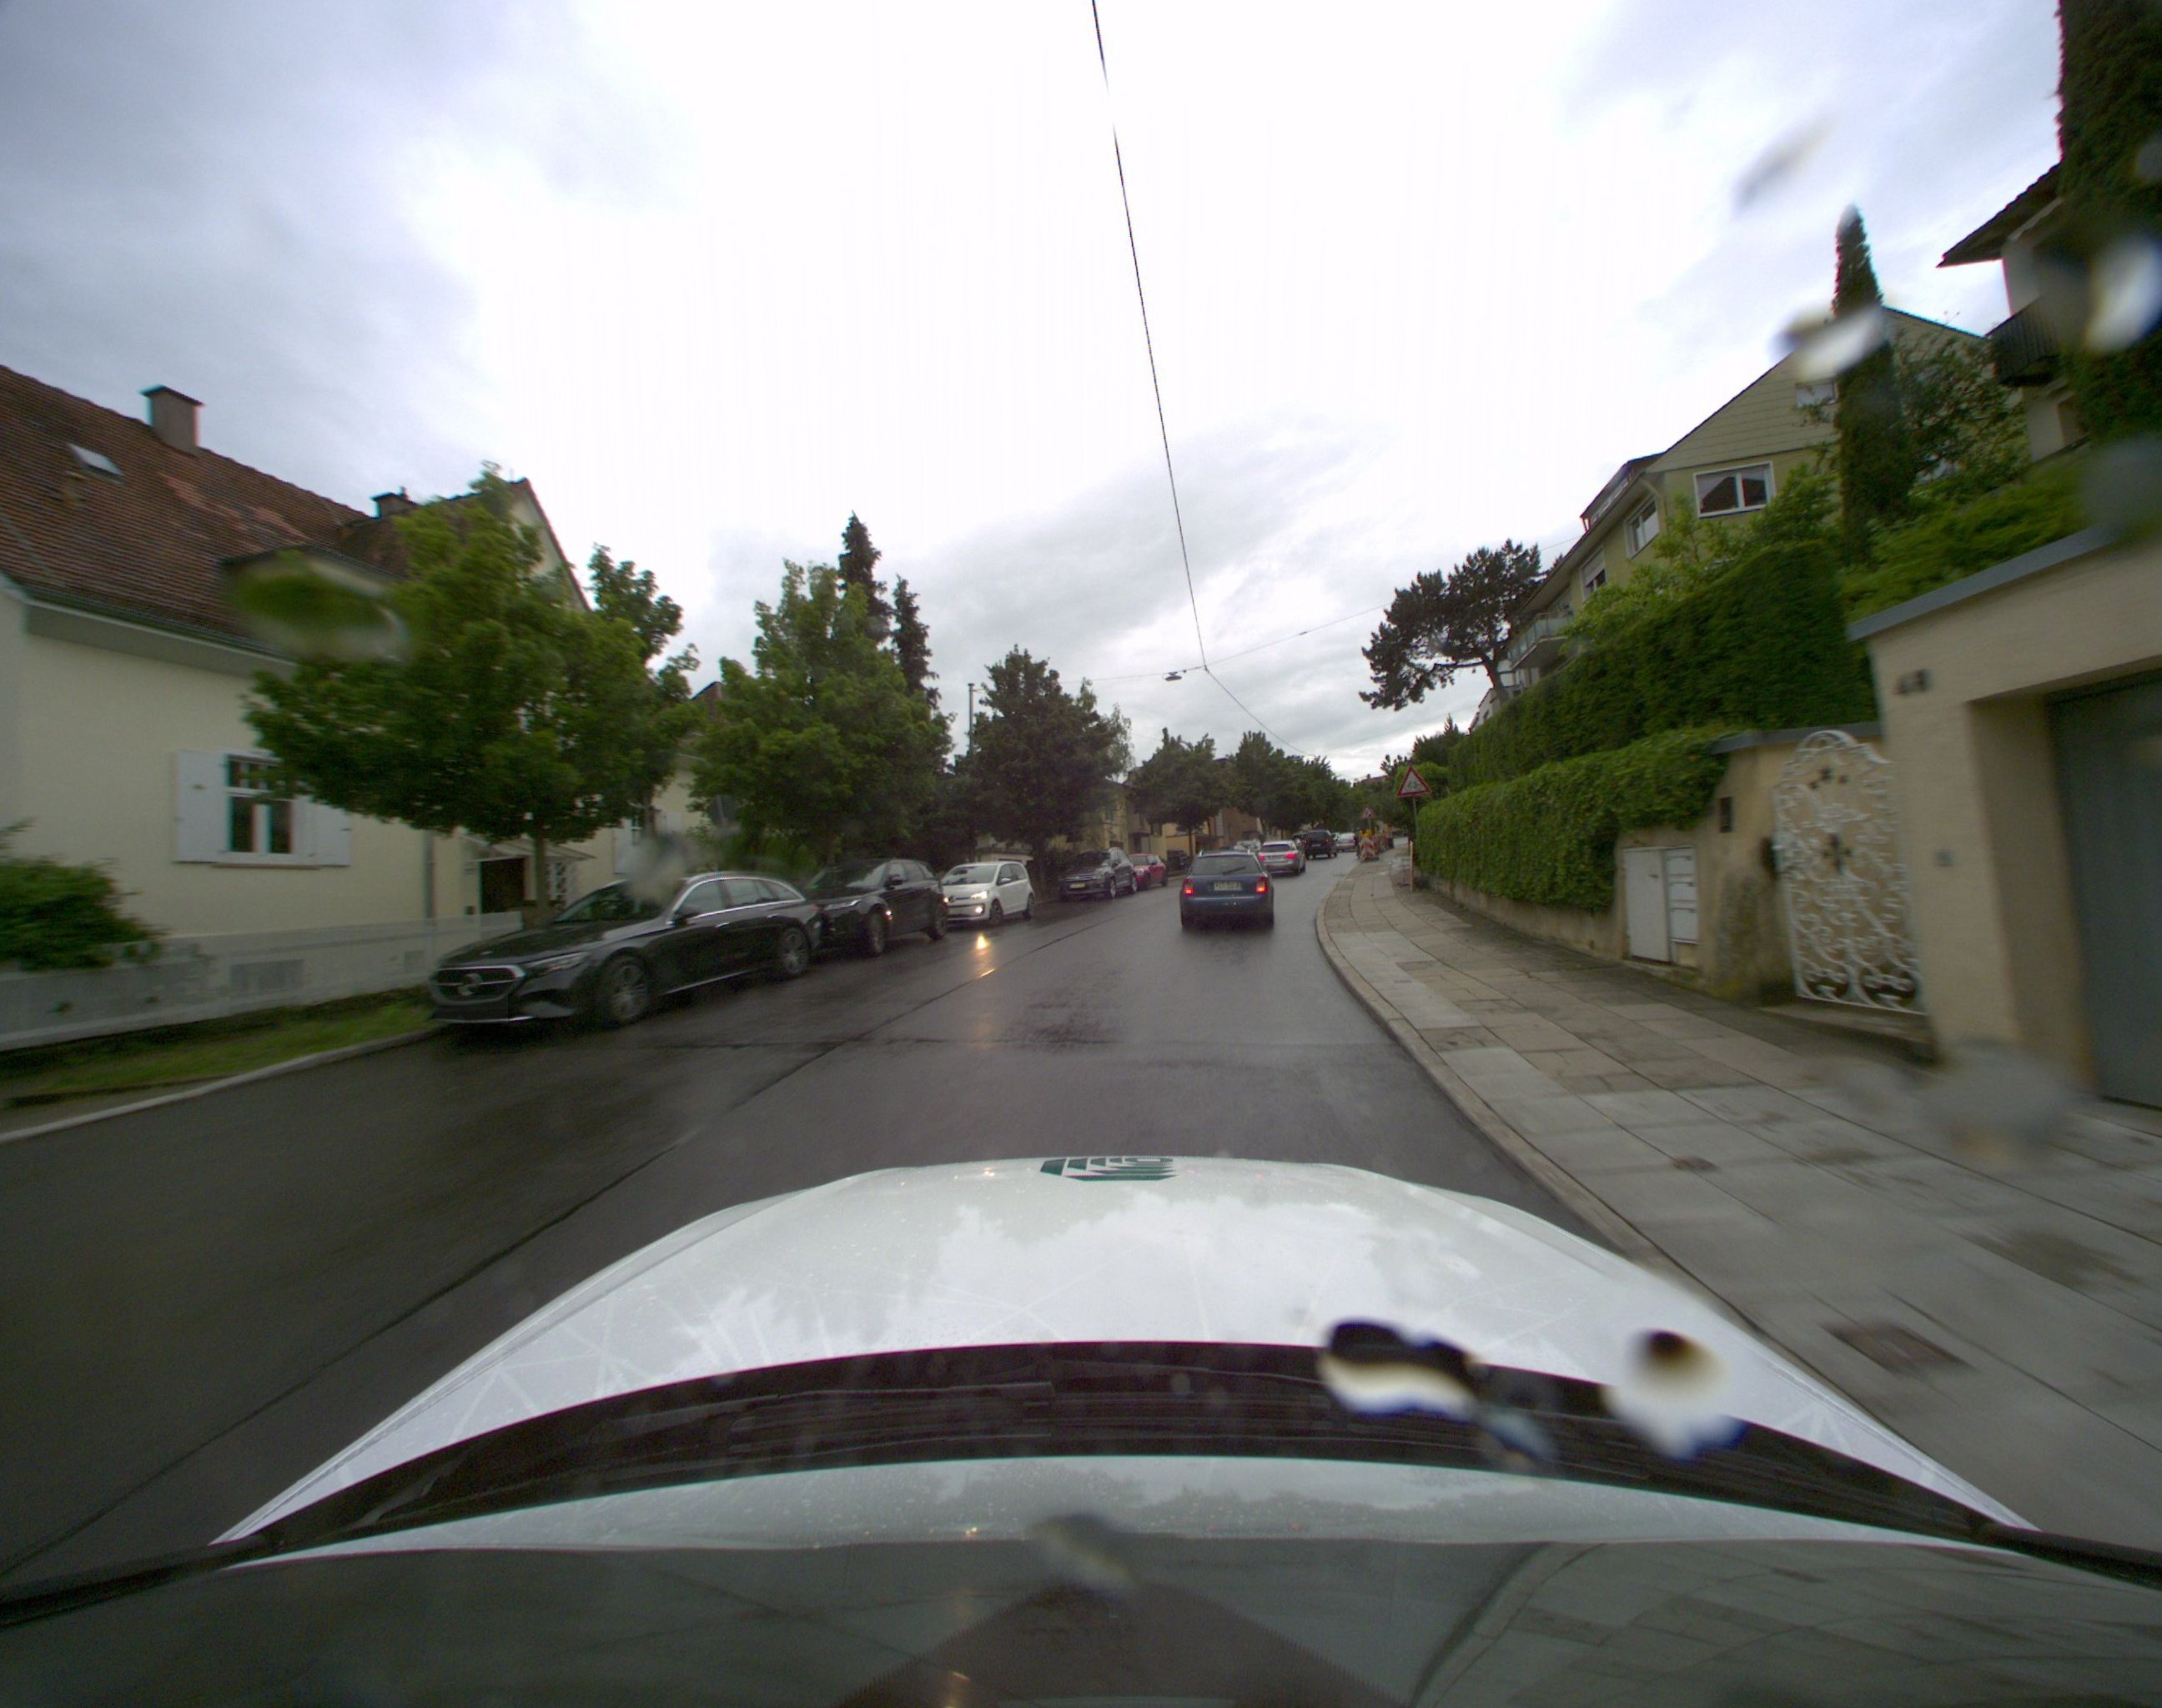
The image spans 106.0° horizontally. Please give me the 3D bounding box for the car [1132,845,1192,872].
[{"bbox_3d":[6.200,0.350,62.164,4.016,1.646,1.874,-5,-1,24],"label":"car"}]

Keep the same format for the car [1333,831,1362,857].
[{"bbox_3d":[21.460,-0.855,65.535,1.718,1.768,4.260,-3,2,24],"label":"car"}]

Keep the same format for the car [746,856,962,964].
[{"bbox_3d":[-3.796,0.879,14.473,1.721,1.545,4.227,-3,0,15],"label":"car"}]

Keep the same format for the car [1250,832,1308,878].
[{"bbox_3d":[8.524,0.000,34.788,1.959,1.634,4.257,-3,2,19],"label":"car"}]

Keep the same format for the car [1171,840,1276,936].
[{"bbox_3d":[2.952,0.579,16.257,1.721,1.466,4.016,-3,2,14],"label":"car"}]

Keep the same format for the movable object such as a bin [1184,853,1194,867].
[{"bbox_3d":[8.490,0.482,63.830,0.581,1.023,0.589,-4,0,22],"label":"movable object such as a bin"}]

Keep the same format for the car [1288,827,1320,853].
[{"bbox_3d":[20.580,-1.323,75.029,1.775,2.049,4.811,-9,-1,26],"label":"car"}]

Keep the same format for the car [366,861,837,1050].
[{"bbox_3d":[-5.004,0.942,9.589,1.854,1.545,4.921,-3,0,12],"label":"car"}]

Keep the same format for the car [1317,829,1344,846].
[{"bbox_3d":[35.972,-2.376,117.488,3.179,1.740,1.489,-12,-2,30],"label":"car"}]

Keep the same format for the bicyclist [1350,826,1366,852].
[{"bbox_3d":[16.683,-0.897,49.069,0.718,1.472,0.891,-4,0,25],"label":"bicyclist"}]

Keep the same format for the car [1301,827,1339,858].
[{"bbox_3d":[15.738,-0.771,53.488,1.718,1.768,4.260,-3,2,24],"label":"car"}]

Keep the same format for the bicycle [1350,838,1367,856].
[{"bbox_3d":[16.694,-0.429,49.024,0.723,0.964,1.681,-4,0,25],"label":"bicycle"}]

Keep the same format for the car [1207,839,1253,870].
[{"bbox_3d":[9.189,-0.013,49.912,1.753,1.535,4.630,-7,-1,22],"label":"car"}]

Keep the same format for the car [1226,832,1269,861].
[{"bbox_3d":[11.301,-0.535,55.056,1.752,1.634,4.134,-9,-1,25],"label":"car"}]

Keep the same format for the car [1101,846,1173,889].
[{"bbox_3d":[2.321,0.510,32.835,1.667,1.471,3.886,-5,-1,21],"label":"car"}]

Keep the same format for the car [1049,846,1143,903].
[{"bbox_3d":[0.612,0.639,28.000,1.786,1.668,4.448,-5,-1,19],"label":"car"}]

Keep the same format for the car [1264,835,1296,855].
[{"bbox_3d":[17.286,-0.818,70.701,1.752,1.436,4.373,-7,-1,25],"label":"car"}]

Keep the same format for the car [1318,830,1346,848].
[{"bbox_3d":[26.791,-1.632,86.801,1.751,1.626,4.720,-7,-1,30],"label":"car"}]

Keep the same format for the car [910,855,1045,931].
[{"bbox_3d":[-2.329,0.854,19.460,1.721,1.466,4.016,-3,0,15],"label":"car"}]
